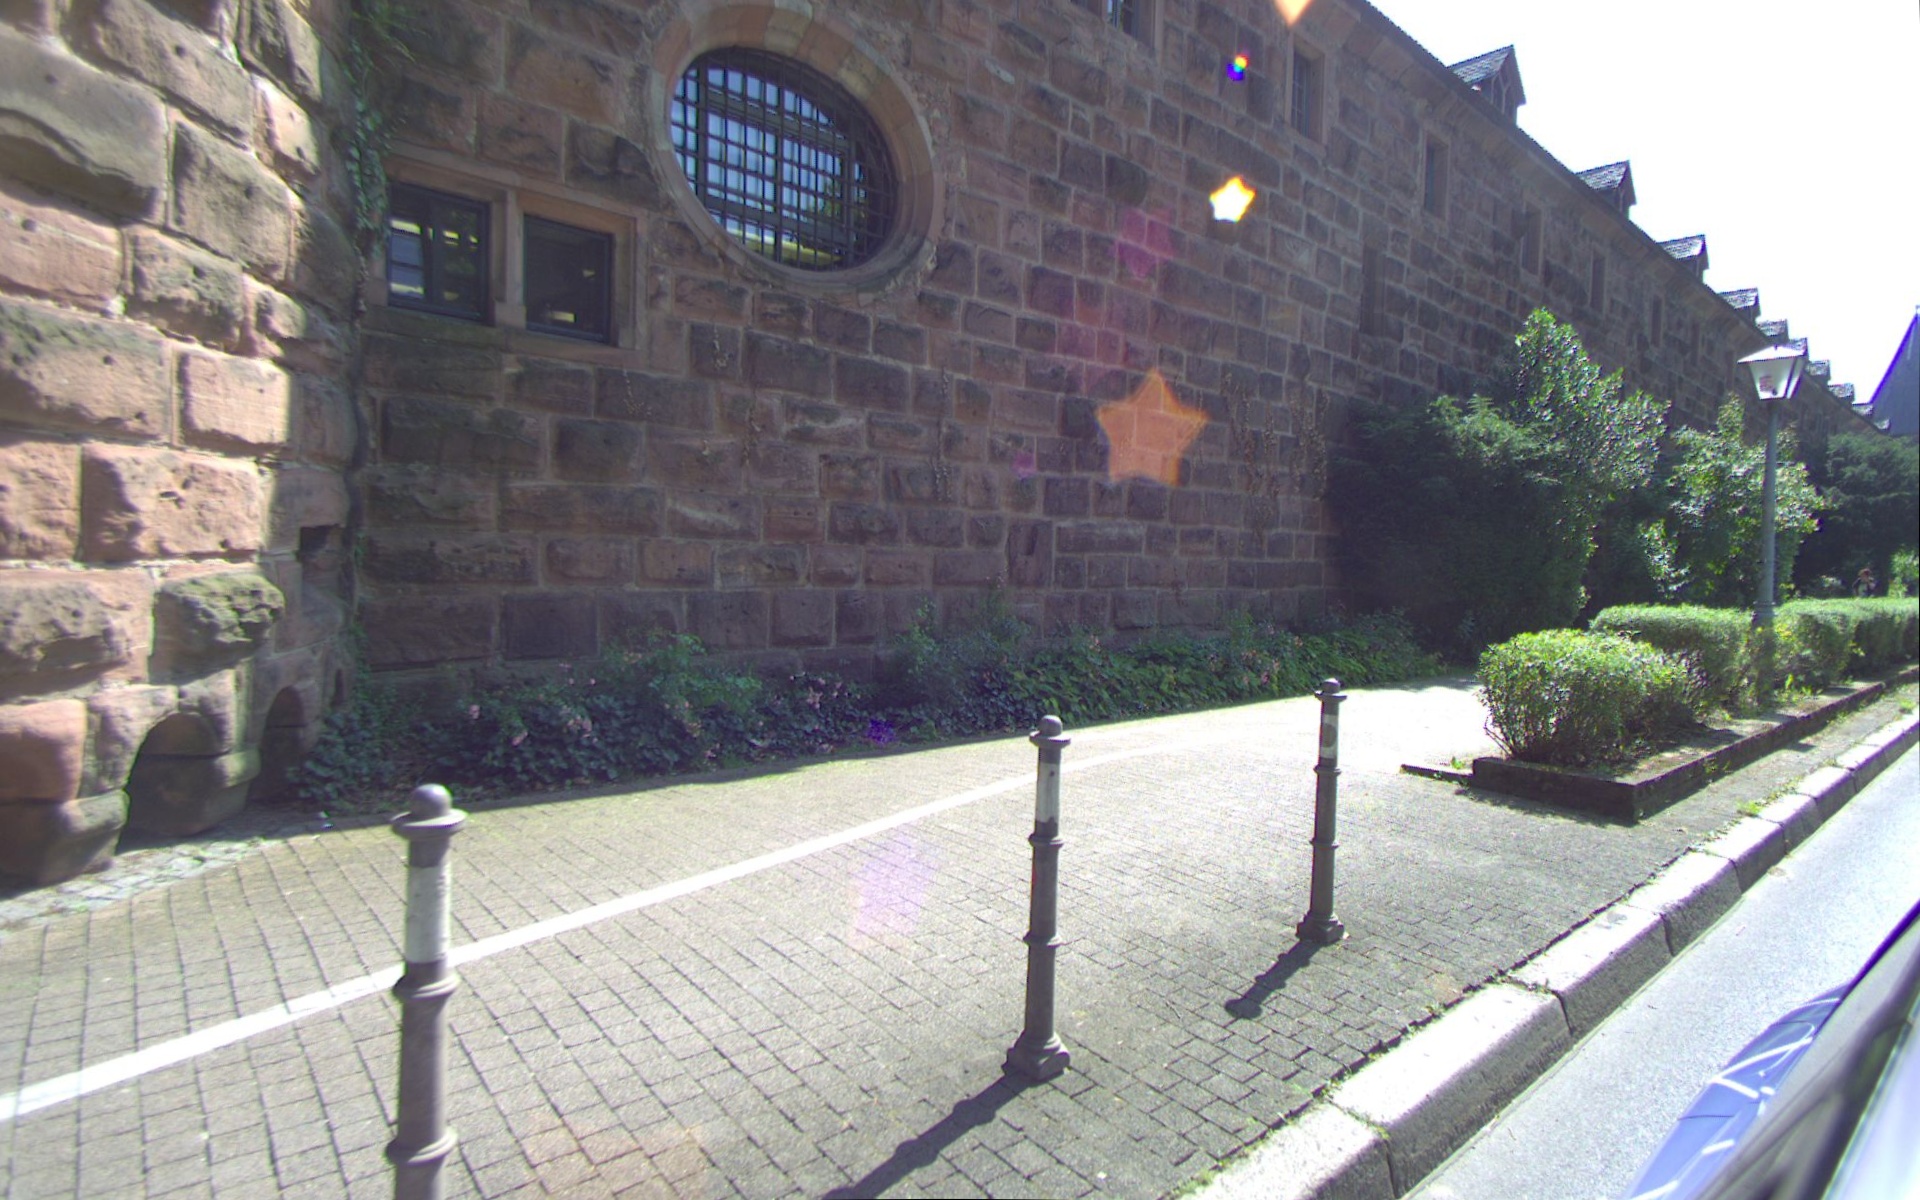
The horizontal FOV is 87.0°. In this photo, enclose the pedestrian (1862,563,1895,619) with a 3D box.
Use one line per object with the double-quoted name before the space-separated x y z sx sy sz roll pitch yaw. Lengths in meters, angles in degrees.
"pedestrian" 26.629 -0.271 29.339 0.554 1.583 0.642 -1 1 -41
